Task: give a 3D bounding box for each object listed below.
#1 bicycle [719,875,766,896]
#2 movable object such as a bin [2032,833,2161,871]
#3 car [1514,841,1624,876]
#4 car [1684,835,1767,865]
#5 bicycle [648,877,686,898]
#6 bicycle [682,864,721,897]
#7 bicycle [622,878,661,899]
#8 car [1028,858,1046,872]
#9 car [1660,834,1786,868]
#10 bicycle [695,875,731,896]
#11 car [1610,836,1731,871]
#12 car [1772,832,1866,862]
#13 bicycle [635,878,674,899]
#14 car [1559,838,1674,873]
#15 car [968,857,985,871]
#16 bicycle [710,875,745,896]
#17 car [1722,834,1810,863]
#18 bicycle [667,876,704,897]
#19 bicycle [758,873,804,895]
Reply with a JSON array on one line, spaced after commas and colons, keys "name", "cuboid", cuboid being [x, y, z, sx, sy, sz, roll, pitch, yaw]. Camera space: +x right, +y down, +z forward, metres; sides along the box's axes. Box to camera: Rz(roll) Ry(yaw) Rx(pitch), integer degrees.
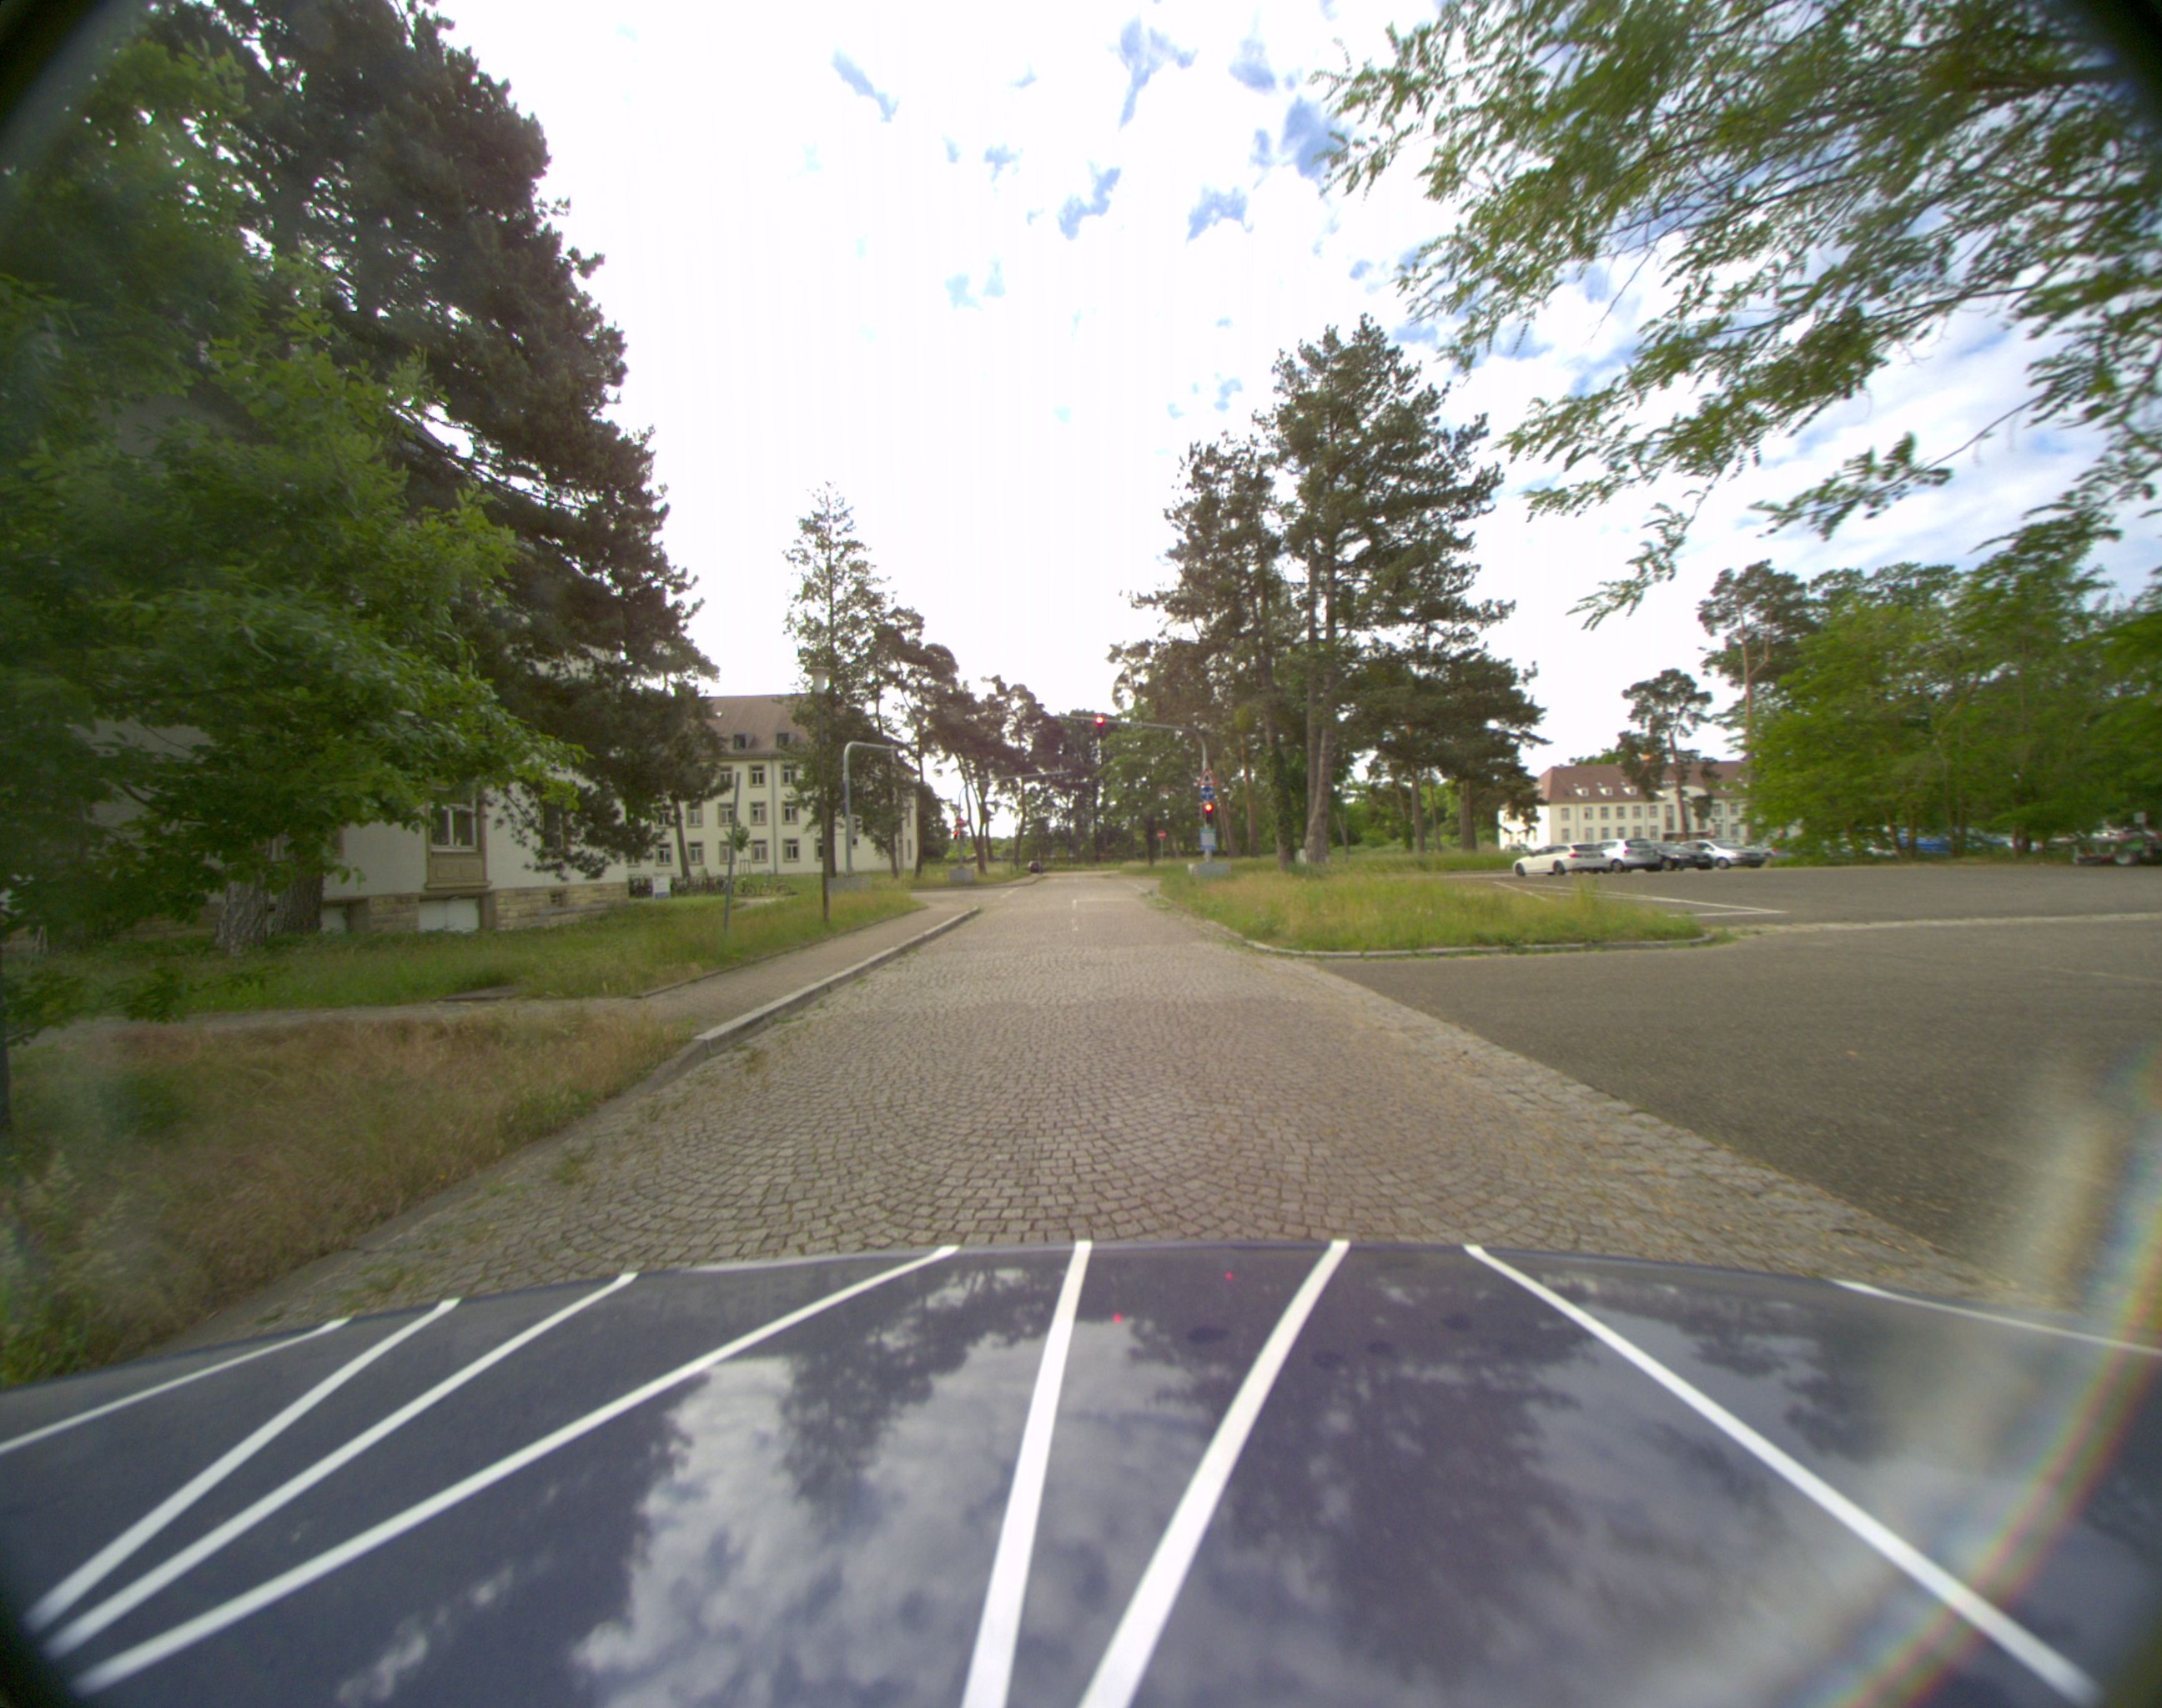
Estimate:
[{"name": "bicycle", "cuboid": [-18.246, 1.685, 41.024, 2.165, 1.051, 0.717, -2, 0, -4]}, {"name": "movable object such as a bin", "cuboid": [31.139, -0.067, 23.031, 1.057, 1.064, 2.719, -2, 0, -9]}, {"name": "car", "cuboid": [22.131, 0.182, 34.705, 1.999, 1.441, 4.451, -2, 0, -3]}, {"name": "car", "cuboid": [38.920, -0.208, 45.997, 1.611, 1.674, 3.803, -2, 0, -5]}, {"name": "bicycle", "cuboid": [-22.868, 1.852, 42.010, 0.800, 1.051, 2.166, -2, 0, 3]}, {"name": "bicycle", "cuboid": [-21.161, 1.443, 42.430, 0.905, 1.721, 2.199, -2, 0, 3]}, {"name": "bicycle", "cuboid": [-24.425, 1.909, 42.284, 0.800, 1.051, 2.166, -2, 0, 3]}, {"name": "car", "cuboid": [-5.730, 1.389, 98.313, 1.999, 1.777, 3.998, -2, 0, -6]}, {"name": "car", "cuboid": [30.096, -0.137, 35.833, 1.999, 1.441, 4.451, -2, 0, -3]}, {"name": "bicycle", "cuboid": [-20.389, 1.753, 42.100, 0.800, 1.051, 2.199, -2, 0, 3]}, {"name": "car", "cuboid": [27.216, -0.020, 35.297, 1.999, 1.441, 4.451, -2, 0, -3]}, {"name": "car", "cuboid": [44.175, -0.405, 45.612, 1.749, 1.674, 3.803, -2, 0, -5]}, {"name": "bicycle", "cuboid": [-23.672, 1.881, 42.212, 0.800, 1.051, 2.166, -2, 0, 3]}, {"name": "car", "cuboid": [24.635, 0.080, 35.192, 1.999, 1.441, 4.451, -2, 0, -3]}, {"name": "car", "cuboid": [-13.341, 1.274, 97.235, 1.999, 1.777, 3.998, -2, 0, -6]}, {"name": "bicycle", "cuboid": [-19.539, 1.723, 42.094, 0.800, 1.051, 2.166, -2, 0, 3]}, {"name": "car", "cuboid": [41.626, -0.315, 46.307, 1.749, 1.674, 3.803, -2, 0, -5]}, {"name": "bicycle", "cuboid": [-21.998, 1.812, 42.341, 0.800, 1.051, 2.199, -2, 0, 3]}, {"name": "bicycle", "cuboid": [-16.164, 1.587, 40.972, 2.165, 1.088, 0.717, -2, 0, -4]}]
